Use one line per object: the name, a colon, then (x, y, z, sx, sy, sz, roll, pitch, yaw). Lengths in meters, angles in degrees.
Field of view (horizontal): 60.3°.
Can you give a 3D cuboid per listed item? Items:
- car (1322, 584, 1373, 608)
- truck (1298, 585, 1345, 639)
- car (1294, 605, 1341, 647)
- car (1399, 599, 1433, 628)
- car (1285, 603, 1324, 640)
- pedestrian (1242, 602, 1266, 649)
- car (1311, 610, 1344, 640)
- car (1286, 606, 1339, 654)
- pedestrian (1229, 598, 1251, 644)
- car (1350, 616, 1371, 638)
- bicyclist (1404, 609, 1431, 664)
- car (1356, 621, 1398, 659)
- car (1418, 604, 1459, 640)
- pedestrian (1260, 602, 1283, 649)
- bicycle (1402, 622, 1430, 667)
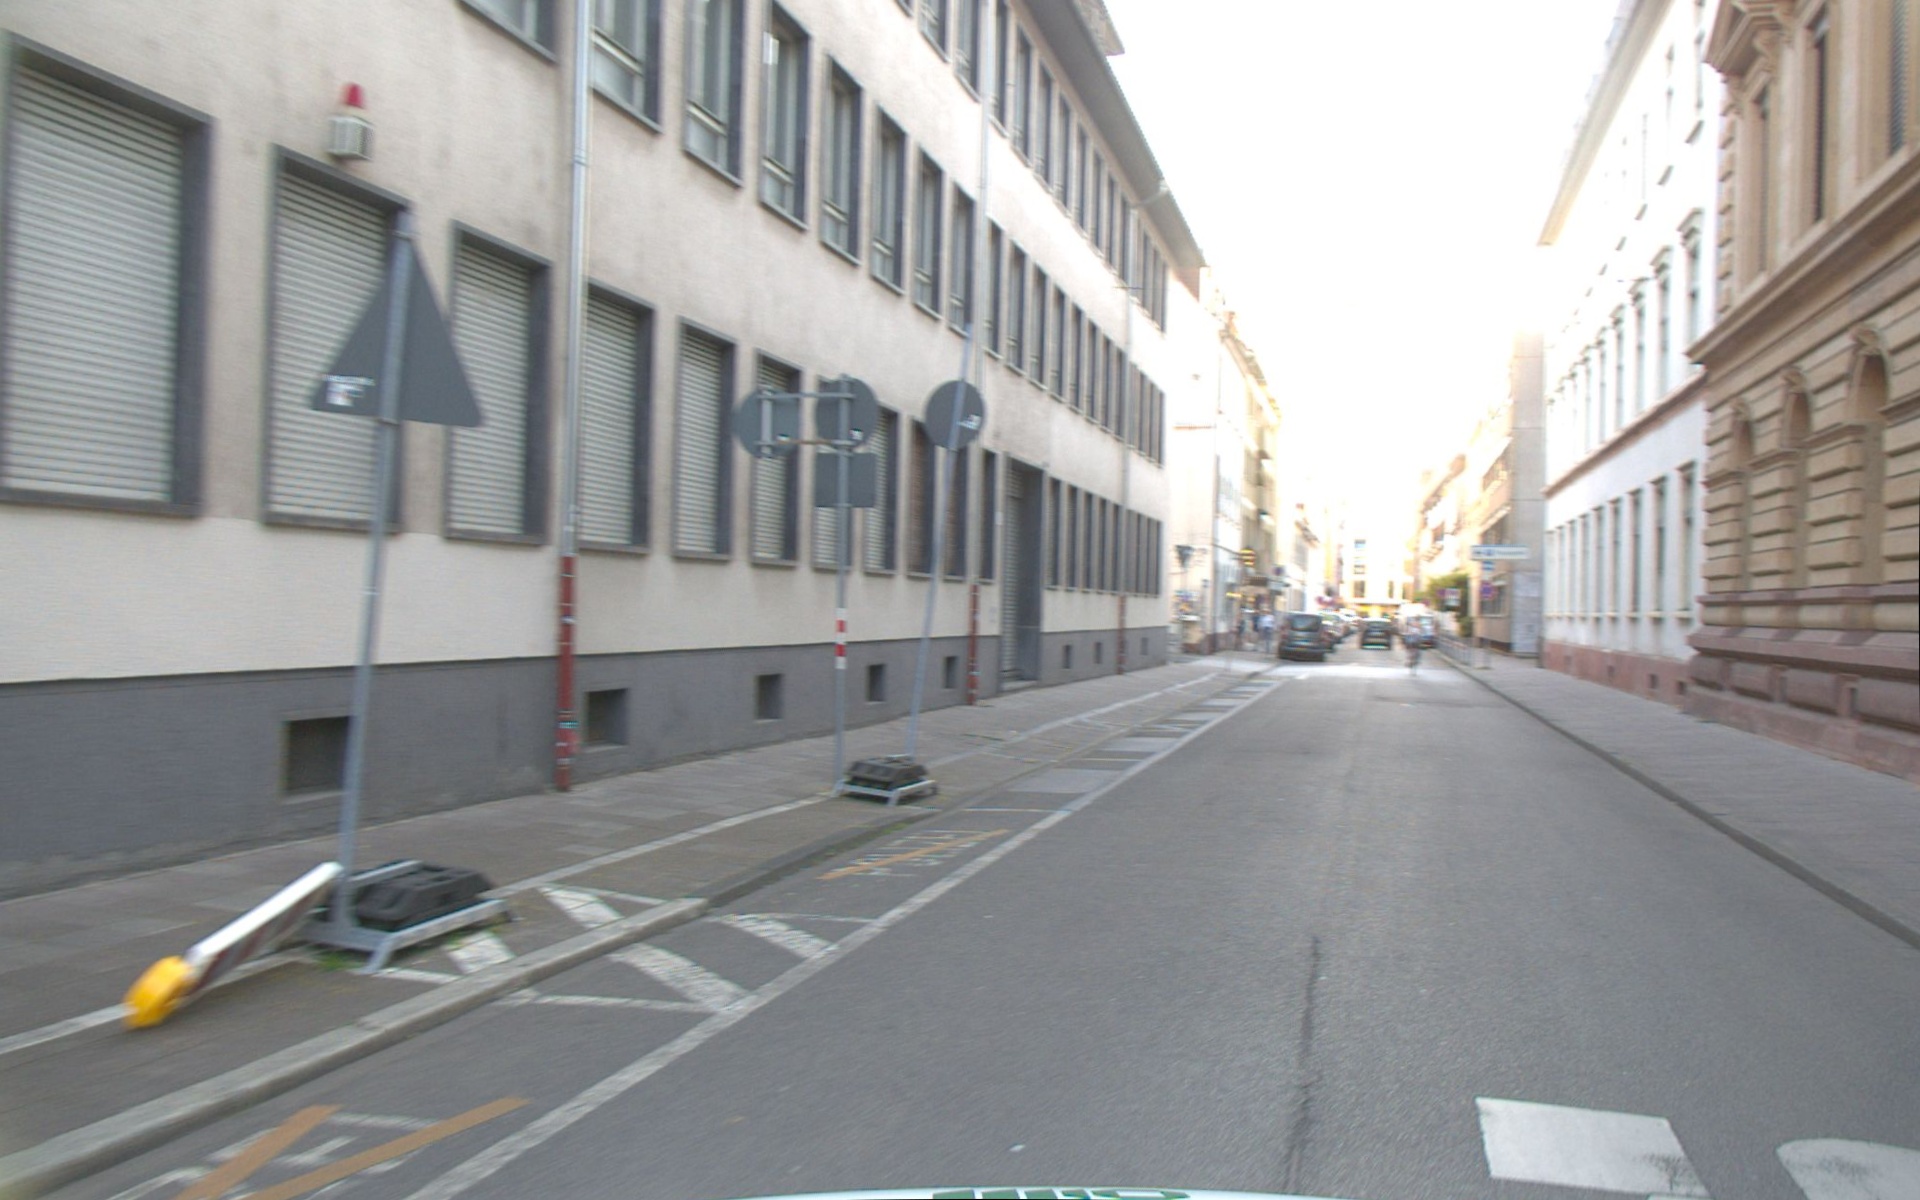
car: (31.386, -0.315, 133.959, 3.902, 1.801, 2.017, 1, -1, 10)
truck: (25.196, 0.829, 115.682, 2.712, 3.566, 9.623, 1, -1, 10)
car: (16.532, 1.193, 76.652, 1.951, 1.847, 4.003, 0, 0, 10)
car: (31.424, 0.924, 114.063, 1.951, 1.919, 4.175, 0, 0, 11)
car: (18.102, 1.112, 86.918, 1.951, 1.847, 4.003, 0, 0, 11)
pedestrian: (12.429, 1.071, 69.896, 0.720, 1.945, 0.755, 0, -1, 33)
car: (23.182, 1.562, 104.344, 1.951, 1.847, 4.003, 0, 0, 13)
car: (13.705, 1.146, 64.215, 1.951, 1.758, 4.003, 0, 0, 13)
pedestrian: (11.446, 0.867, 67.667, 0.740, 1.861, 0.734, 1, -1, -3)
car: (39.843, 2.670, 164.553, 1.951, 2.049, 4.002, 2, -1, 15)
bicyclist: (13.754, 1.087, 49.744, 0.772, 1.611, 1.013, 0, -1, 15)
car: (22.228, 2.092, 88.275, 1.951, 1.937, 4.003, 0, 0, 11)
car: (27.413, 1.258, 94.829, 1.951, 2.026, 4.003, 0, 0, 11)
pedestrian: (13.016, 1.066, 69.078, 0.720, 1.945, 0.755, 0, -1, 33)
bicycle: (13.676, 1.316, 49.681, 0.777, 1.299, 2.580, 0, 0, 15)
